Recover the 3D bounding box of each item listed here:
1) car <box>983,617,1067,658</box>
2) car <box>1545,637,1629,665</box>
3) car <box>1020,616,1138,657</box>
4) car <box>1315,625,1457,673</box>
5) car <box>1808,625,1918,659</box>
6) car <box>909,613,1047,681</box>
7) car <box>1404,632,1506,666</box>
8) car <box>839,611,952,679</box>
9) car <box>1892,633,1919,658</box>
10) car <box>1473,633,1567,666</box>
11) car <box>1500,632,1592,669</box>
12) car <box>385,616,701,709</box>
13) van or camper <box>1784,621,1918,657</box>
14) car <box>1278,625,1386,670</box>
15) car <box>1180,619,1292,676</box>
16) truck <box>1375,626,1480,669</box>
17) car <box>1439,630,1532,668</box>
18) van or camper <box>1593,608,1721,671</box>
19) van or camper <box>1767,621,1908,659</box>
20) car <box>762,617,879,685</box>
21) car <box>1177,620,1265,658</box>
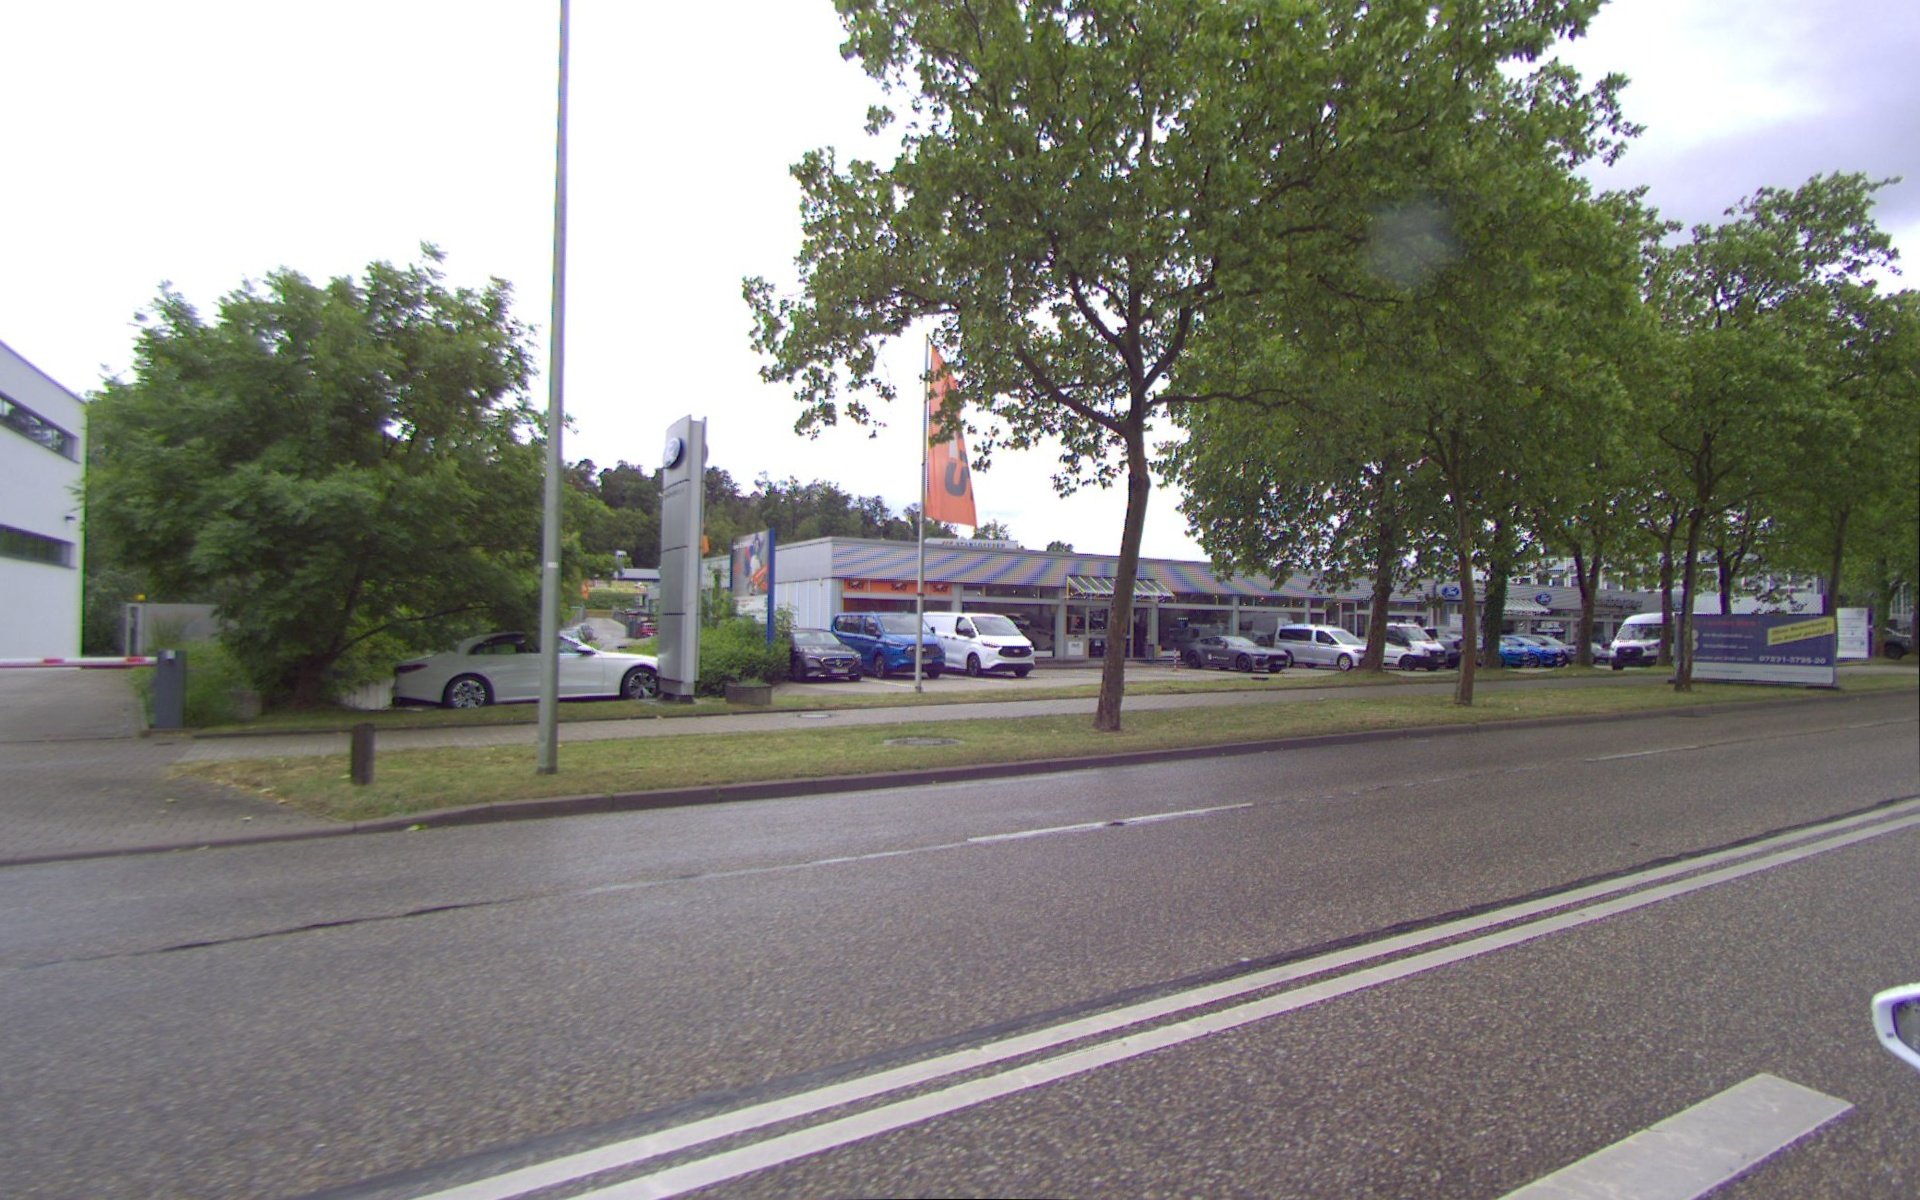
[{"bbox_3d":[3.069,1.752,47.187,3.808,1.767,1.913,2,0,5],"label":"car"},{"bbox_3d":[35.335,2.867,56.711,1.574,1.487,3.892,1,-2,-18],"label":"car"},{"bbox_3d":[5.844,1.764,49.451,5.257,1.862,2.385,0,-1,33],"label":"car"},{"bbox_3d":[18.564,2.090,44.071,2.390,1.928,5.344,1,-2,-33],"label":"car"},{"bbox_3d":[50.769,2.322,56.595,4.397,1.840,1.992,-1,-2,37],"label":"car"},{"bbox_3d":[0.476,1.479,32.612,2.106,2.040,5.018,1,-2,-32],"label":"car"},{"bbox_3d":[23.481,2.297,47.813,2.008,1.480,3.973,1,-2,-27],"label":"car"},{"bbox_3d":[-2.042,1.345,30.560,1.939,1.914,3.970,1,-2,-29],"label":"car"},{"bbox_3d":[65.962,3.083,67.608,4.497,1.617,1.992,0,-1,38],"label":"car"},{"bbox_3d":[27.921,2.449,50.194,1.834,1.540,3.988,1,-2,-16],"label":"car"},{"bbox_3d":[30.037,2.543,51.615,1.833,1.790,3.989,1,-2,-14],"label":"car"},{"bbox_3d":[-7.697,1.095,18.708,5.188,1.516,2.107,1,-2,-32],"label":"car"},{"bbox_3d":[48.613,2.141,54.986,5.290,1.792,2.098,-1,-5,37],"label":"van or camper"},{"bbox_3d":[15.540,1.969,42.124,1.862,1.790,3.965,1,-2,-32],"label":"car"},{"bbox_3d":[10.563,1.786,38.674,1.862,2.040,3.965,1,-2,-32],"label":"car"},{"bbox_3d":[21.357,2.145,45.989,1.983,1.862,3.955,2,-2,-39],"label":"truck"},{"bbox_3d":[25.589,2.355,49.082,1.834,1.790,3.988,1,-2,-15],"label":"car"},{"bbox_3d":[29.643,1.636,42.643,6.326,2.503,1.984,1,0,-31],"label":"van or camper"},{"bbox_3d":[45.331,2.053,52.077,5.211,1.845,2.260,-1,-2,34],"label":"van or camper"},{"bbox_3d":[-4.134,1.428,29.195,2.041,1.837,4.108,1,-2,-29],"label":"car"},{"bbox_3d":[12.566,1.862,48.544,1.844,1.790,3.966,1,-2,-32],"label":"car"}]
